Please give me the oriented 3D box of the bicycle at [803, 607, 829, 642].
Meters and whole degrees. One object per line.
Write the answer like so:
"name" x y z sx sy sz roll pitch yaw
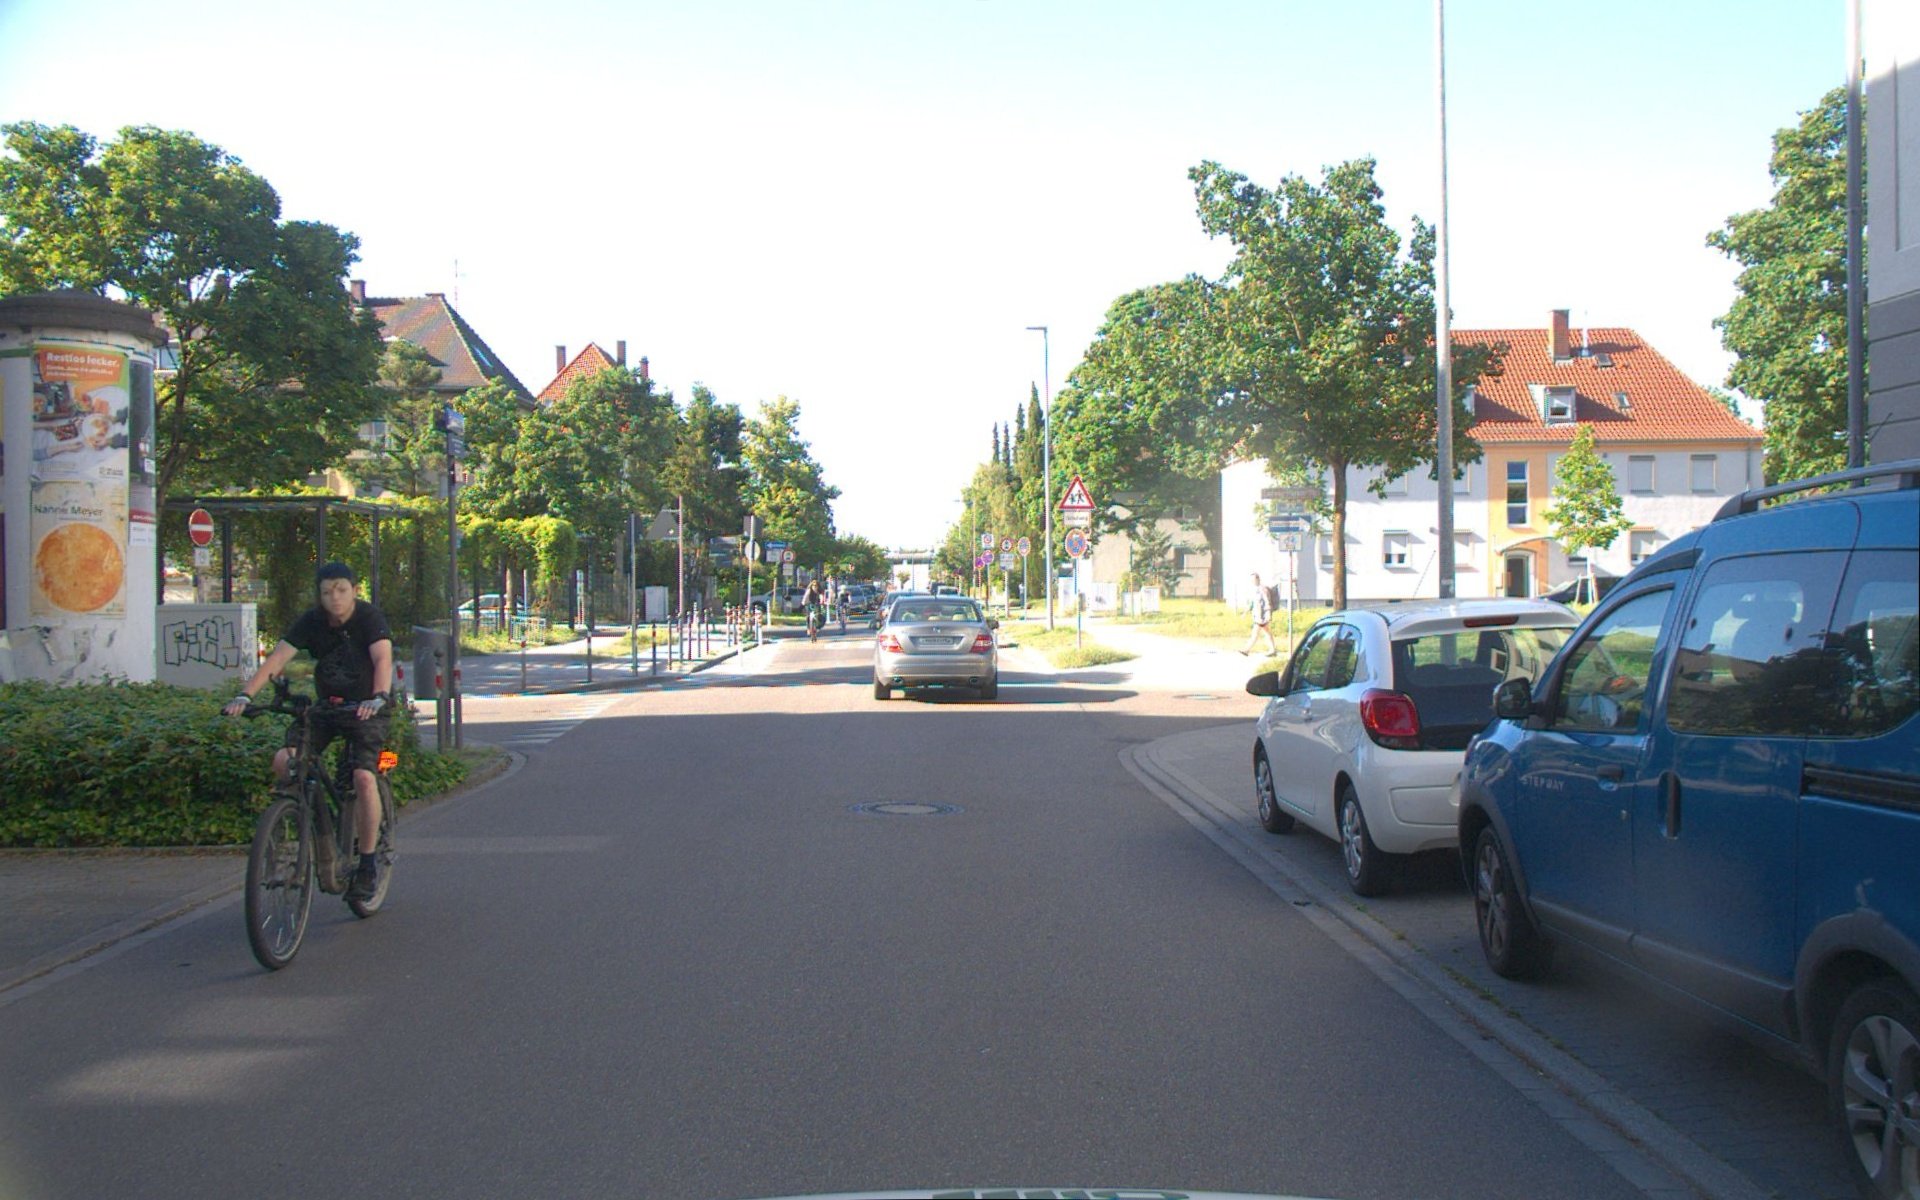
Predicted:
"bicycle" -4.125 0.705 47.595 0.577 0.948 1.850 -1 0 0

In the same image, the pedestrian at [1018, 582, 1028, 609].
"pedestrian" 3.714 -0.264 97.278 0.499 1.586 0.643 1 -1 0

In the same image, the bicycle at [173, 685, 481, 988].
"bicycle" -2.840 1.007 7.652 0.705 1.098 1.890 -1 0 -1

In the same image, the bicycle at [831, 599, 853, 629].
"bicycle" -3.978 0.462 55.832 0.577 0.948 1.850 -1 0 0

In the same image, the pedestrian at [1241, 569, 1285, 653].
"pedestrian" 6.041 0.220 33.001 0.635 1.651 0.615 -1 0 36

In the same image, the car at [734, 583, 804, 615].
"car" -9.618 -0.071 83.058 3.428 1.560 1.642 -1 0 -8

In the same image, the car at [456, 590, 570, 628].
"car" -17.333 0.358 64.249 3.909 1.400 1.998 1 -1 -5

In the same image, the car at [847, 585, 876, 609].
"car" -6.587 -0.208 110.169 1.752 1.559 3.995 -1 0 -6

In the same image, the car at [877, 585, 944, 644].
"car" -1.337 0.387 44.291 1.672 1.473 4.200 1 -1 -2

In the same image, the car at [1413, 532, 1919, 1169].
"car" 2.940 0.532 5.233 1.648 1.460 4.264 -5 -1 -2

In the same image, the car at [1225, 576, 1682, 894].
"car" 2.734 0.688 10.018 1.532 1.435 3.729 -5 -1 0

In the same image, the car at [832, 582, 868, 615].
"car" -6.131 -0.113 91.568 1.836 1.758 3.995 -1 0 -6

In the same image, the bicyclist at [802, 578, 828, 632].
"bicyclist" -4.167 0.135 47.584 0.666 1.535 0.655 -1 0 0

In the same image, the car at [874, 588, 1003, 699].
"car" -0.308 0.606 24.055 1.691 1.445 3.959 1 -1 -1

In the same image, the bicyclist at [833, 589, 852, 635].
"bicyclist" -3.973 0.398 55.848 0.560 1.535 0.655 -1 0 0

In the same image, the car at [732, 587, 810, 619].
"car" -9.879 0.179 86.697 3.908 1.550 1.755 1 -1 -4

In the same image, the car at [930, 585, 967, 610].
"car" -0.675 -0.140 94.413 1.689 1.353 3.995 -1 0 -6

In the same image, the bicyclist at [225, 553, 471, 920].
"bicyclist" -2.800 0.582 7.689 0.706 1.563 1.137 -1 0 -1
